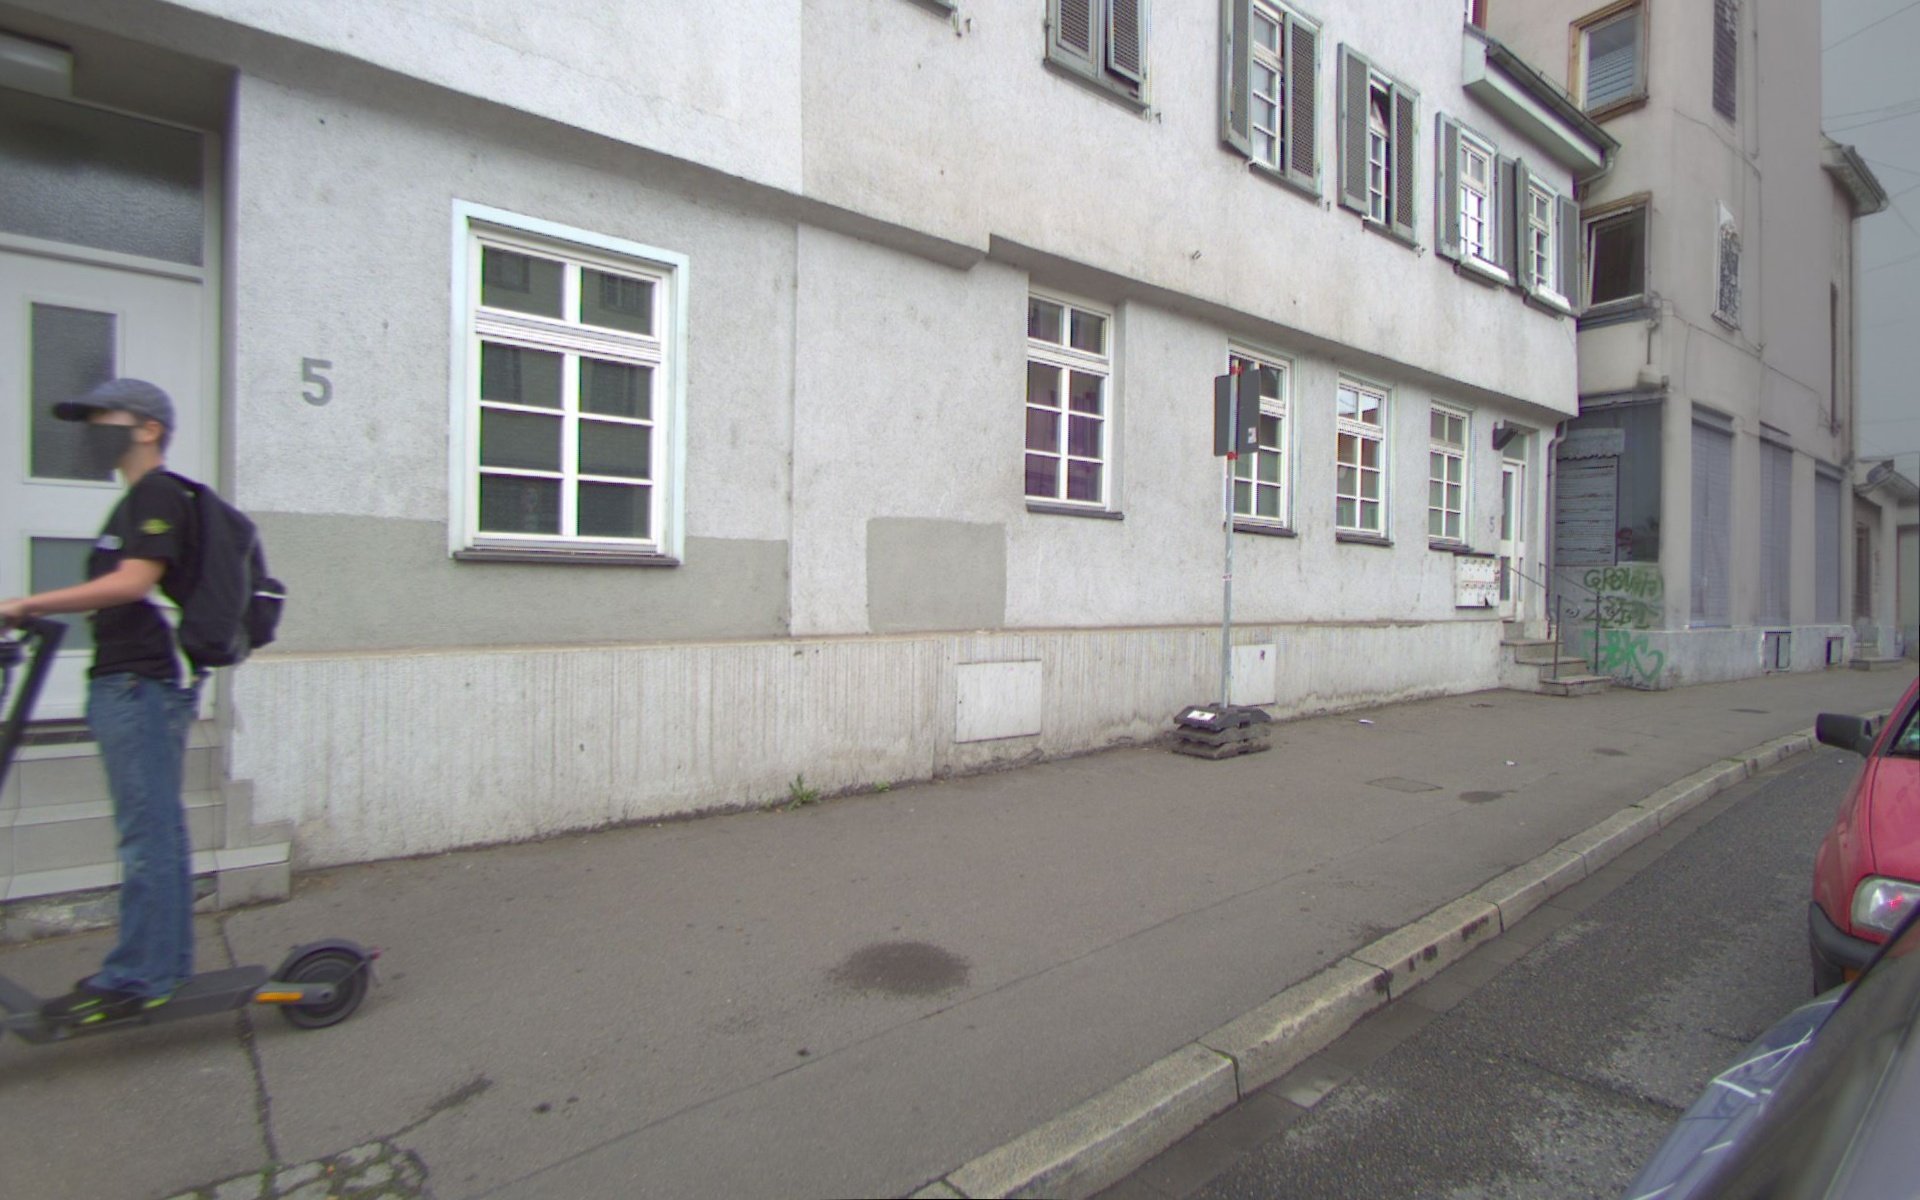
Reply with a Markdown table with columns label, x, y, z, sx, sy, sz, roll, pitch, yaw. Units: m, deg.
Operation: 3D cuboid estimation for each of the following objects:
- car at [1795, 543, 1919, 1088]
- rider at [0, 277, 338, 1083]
| label | x | y | z | sx | sy | sz | roll | pitch | yaw |
| --- | --- | --- | --- | --- | --- | --- | --- | --- | --- |
| car | 4.421 | 0.564 | 3.512 | 3.931 | 1.443 | 1.791 | -1 | 1 | -42 |
| rider | -2.249 | 0.180 | 2.800 | 0.783 | 1.870 | 0.719 | 1 | 1 | -41 |
